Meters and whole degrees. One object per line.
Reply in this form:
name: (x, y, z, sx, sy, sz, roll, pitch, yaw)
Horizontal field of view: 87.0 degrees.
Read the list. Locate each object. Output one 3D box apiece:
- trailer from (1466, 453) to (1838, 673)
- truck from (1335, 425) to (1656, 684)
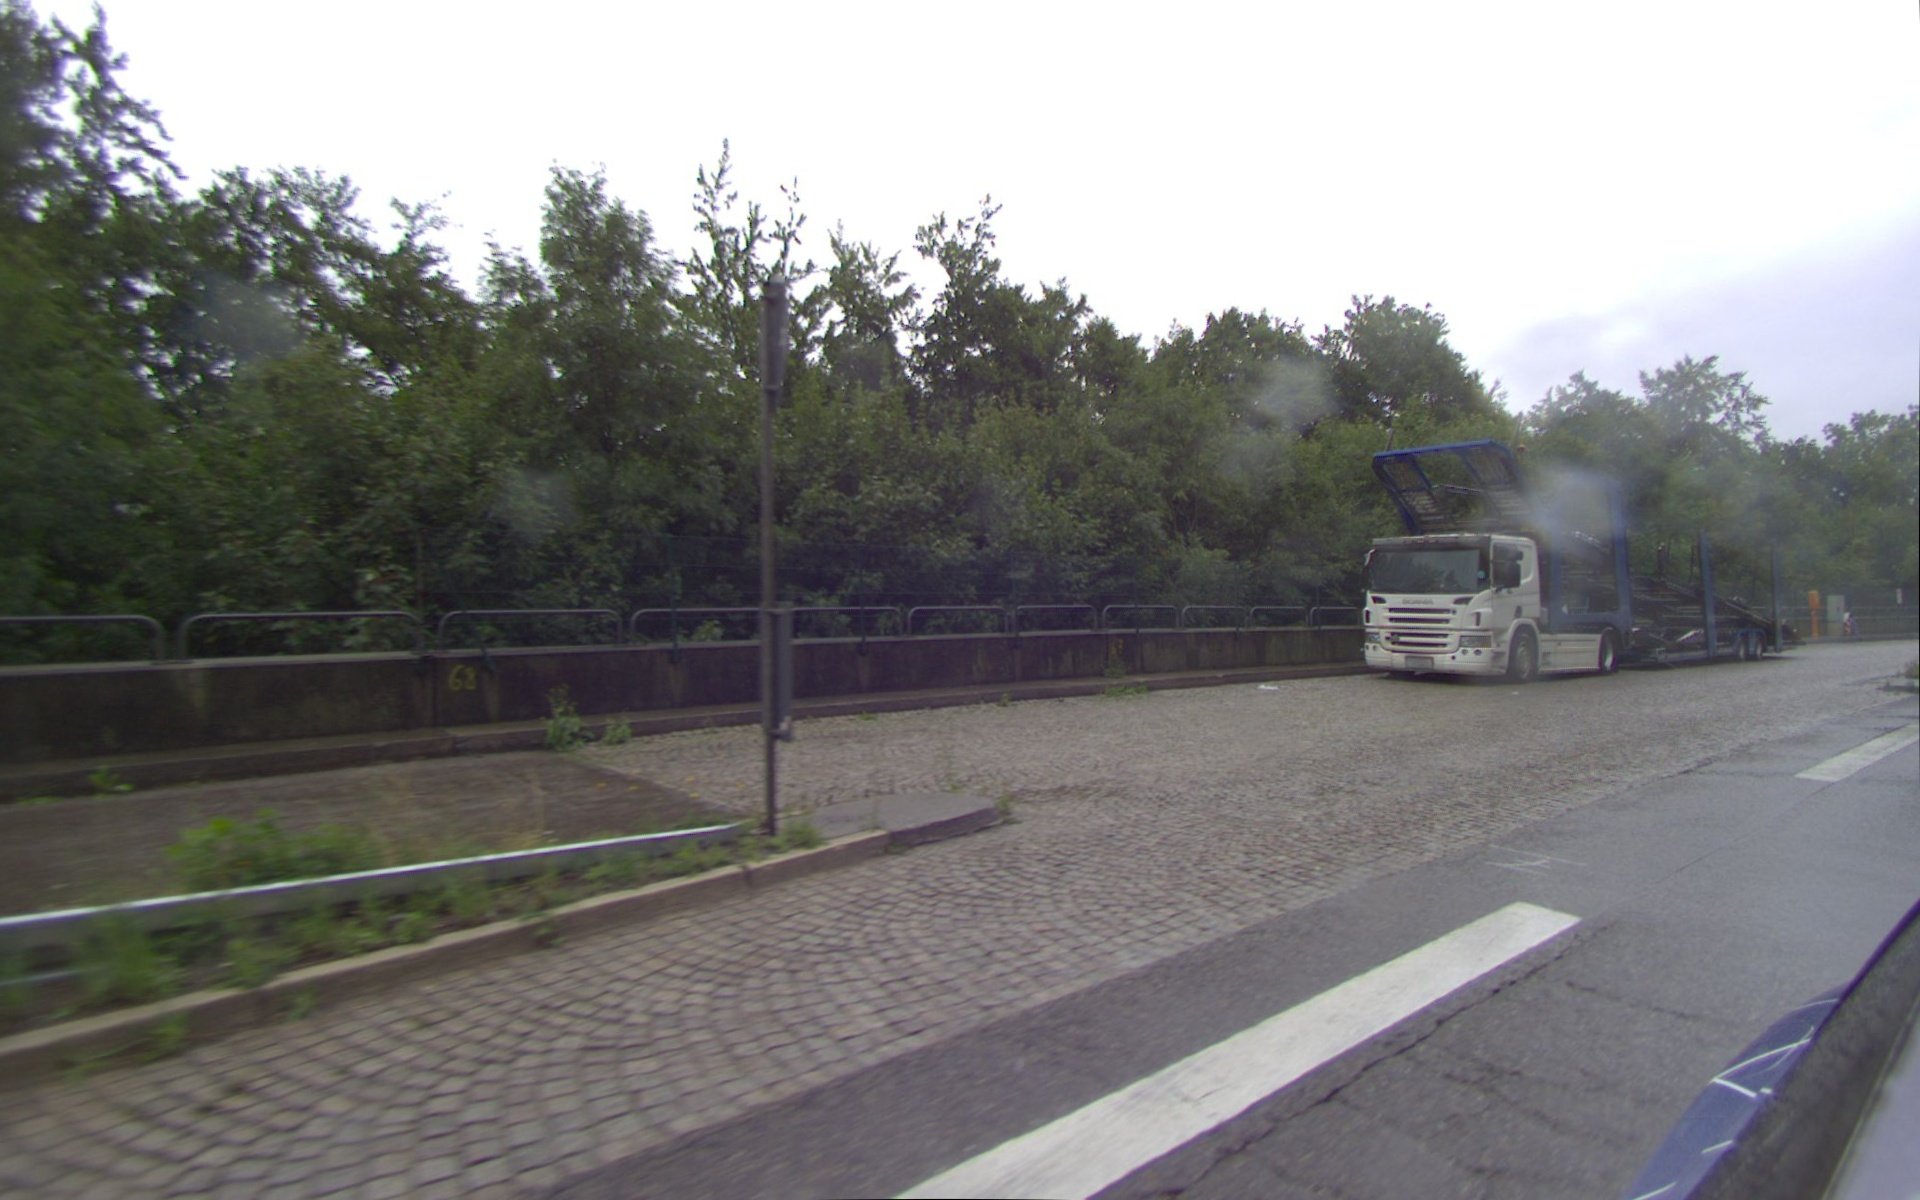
trailer: (17.766, -0.786, 25.171, 14.420, 4.297, 2.902, 0, 1, -36)
truck: (10.702, -0.812, 19.994, 6.752, 4.297, 2.905, 0, 1, -36)
